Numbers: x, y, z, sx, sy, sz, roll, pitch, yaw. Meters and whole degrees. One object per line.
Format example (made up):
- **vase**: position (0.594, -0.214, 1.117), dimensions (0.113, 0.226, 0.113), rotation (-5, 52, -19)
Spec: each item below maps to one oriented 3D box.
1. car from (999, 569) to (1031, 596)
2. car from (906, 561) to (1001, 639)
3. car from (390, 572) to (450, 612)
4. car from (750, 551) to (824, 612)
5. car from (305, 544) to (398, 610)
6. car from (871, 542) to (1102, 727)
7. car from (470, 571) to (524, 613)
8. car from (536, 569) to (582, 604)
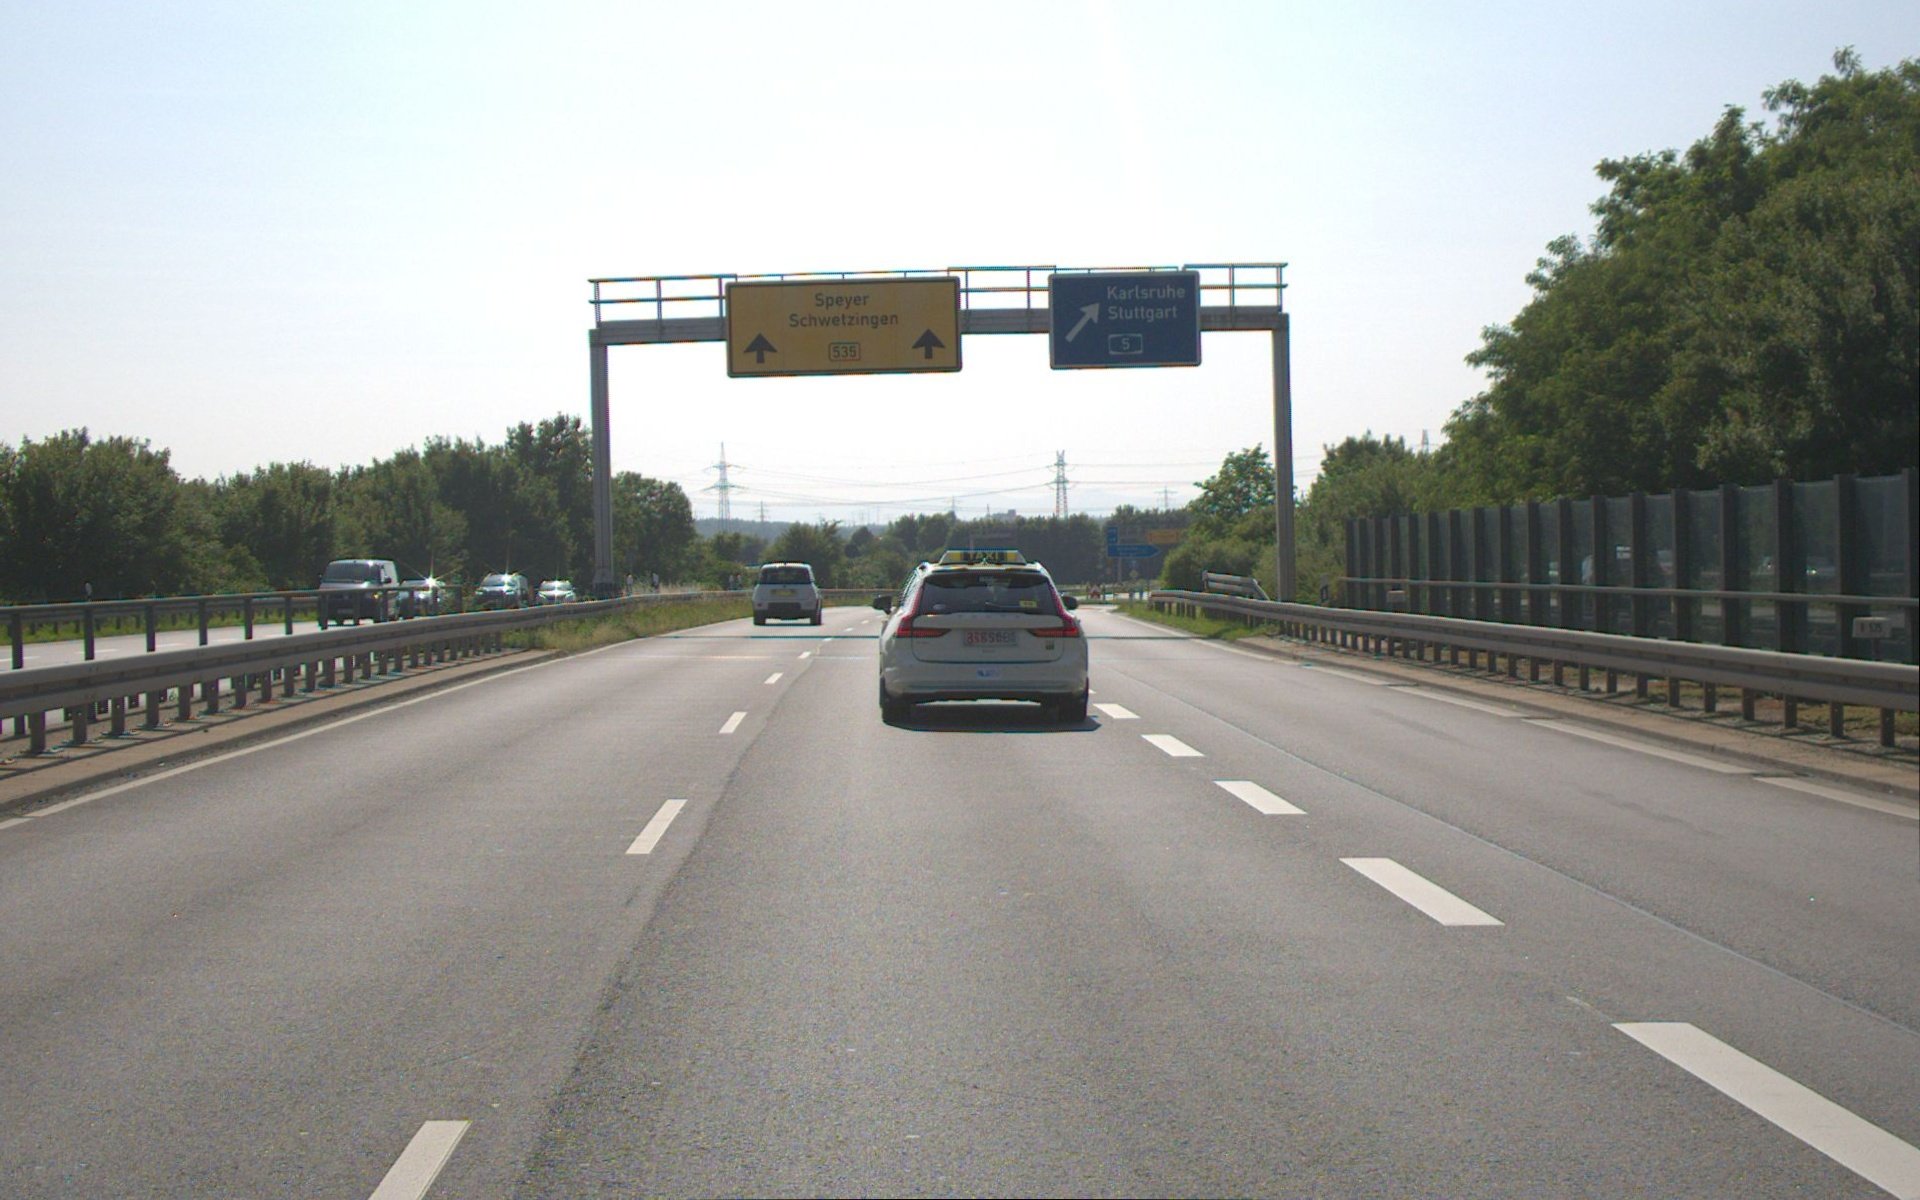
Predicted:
- **car**: position (3.378, -1.076, 211.752), dimensions (1.841, 1.692, 4.000), rotation (0, 0, -1)
- **car**: position (-0.149, -0.012, 69.780), dimensions (1.793, 1.538, 3.672), rotation (0, 0, -2)
- **car**: position (-18.386, -0.287, 117.169), dimensions (1.566, 1.265, 3.716), rotation (0, 1, -2)
- **car**: position (-4.342, -0.461, 86.757), dimensions (1.793, 1.498, 4.043), rotation (0, 0, -2)
- **car**: position (-18.179, -0.703, 102.941), dimensions (1.993, 1.899, 4.418), rotation (-1, 1, 0)
- **car**: position (0.178, 0.266, 32.258), dimensions (1.958, 1.596, 4.107), rotation (0, 1, -2)
- **car**: position (-18.422, -0.335, 136.874), dimensions (1.732, 1.611, 4.003), rotation (0, 1, -2)
- **car**: position (-18.984, -0.669, 162.969), dimensions (1.901, 1.615, 4.630), rotation (0, 1, -4)
